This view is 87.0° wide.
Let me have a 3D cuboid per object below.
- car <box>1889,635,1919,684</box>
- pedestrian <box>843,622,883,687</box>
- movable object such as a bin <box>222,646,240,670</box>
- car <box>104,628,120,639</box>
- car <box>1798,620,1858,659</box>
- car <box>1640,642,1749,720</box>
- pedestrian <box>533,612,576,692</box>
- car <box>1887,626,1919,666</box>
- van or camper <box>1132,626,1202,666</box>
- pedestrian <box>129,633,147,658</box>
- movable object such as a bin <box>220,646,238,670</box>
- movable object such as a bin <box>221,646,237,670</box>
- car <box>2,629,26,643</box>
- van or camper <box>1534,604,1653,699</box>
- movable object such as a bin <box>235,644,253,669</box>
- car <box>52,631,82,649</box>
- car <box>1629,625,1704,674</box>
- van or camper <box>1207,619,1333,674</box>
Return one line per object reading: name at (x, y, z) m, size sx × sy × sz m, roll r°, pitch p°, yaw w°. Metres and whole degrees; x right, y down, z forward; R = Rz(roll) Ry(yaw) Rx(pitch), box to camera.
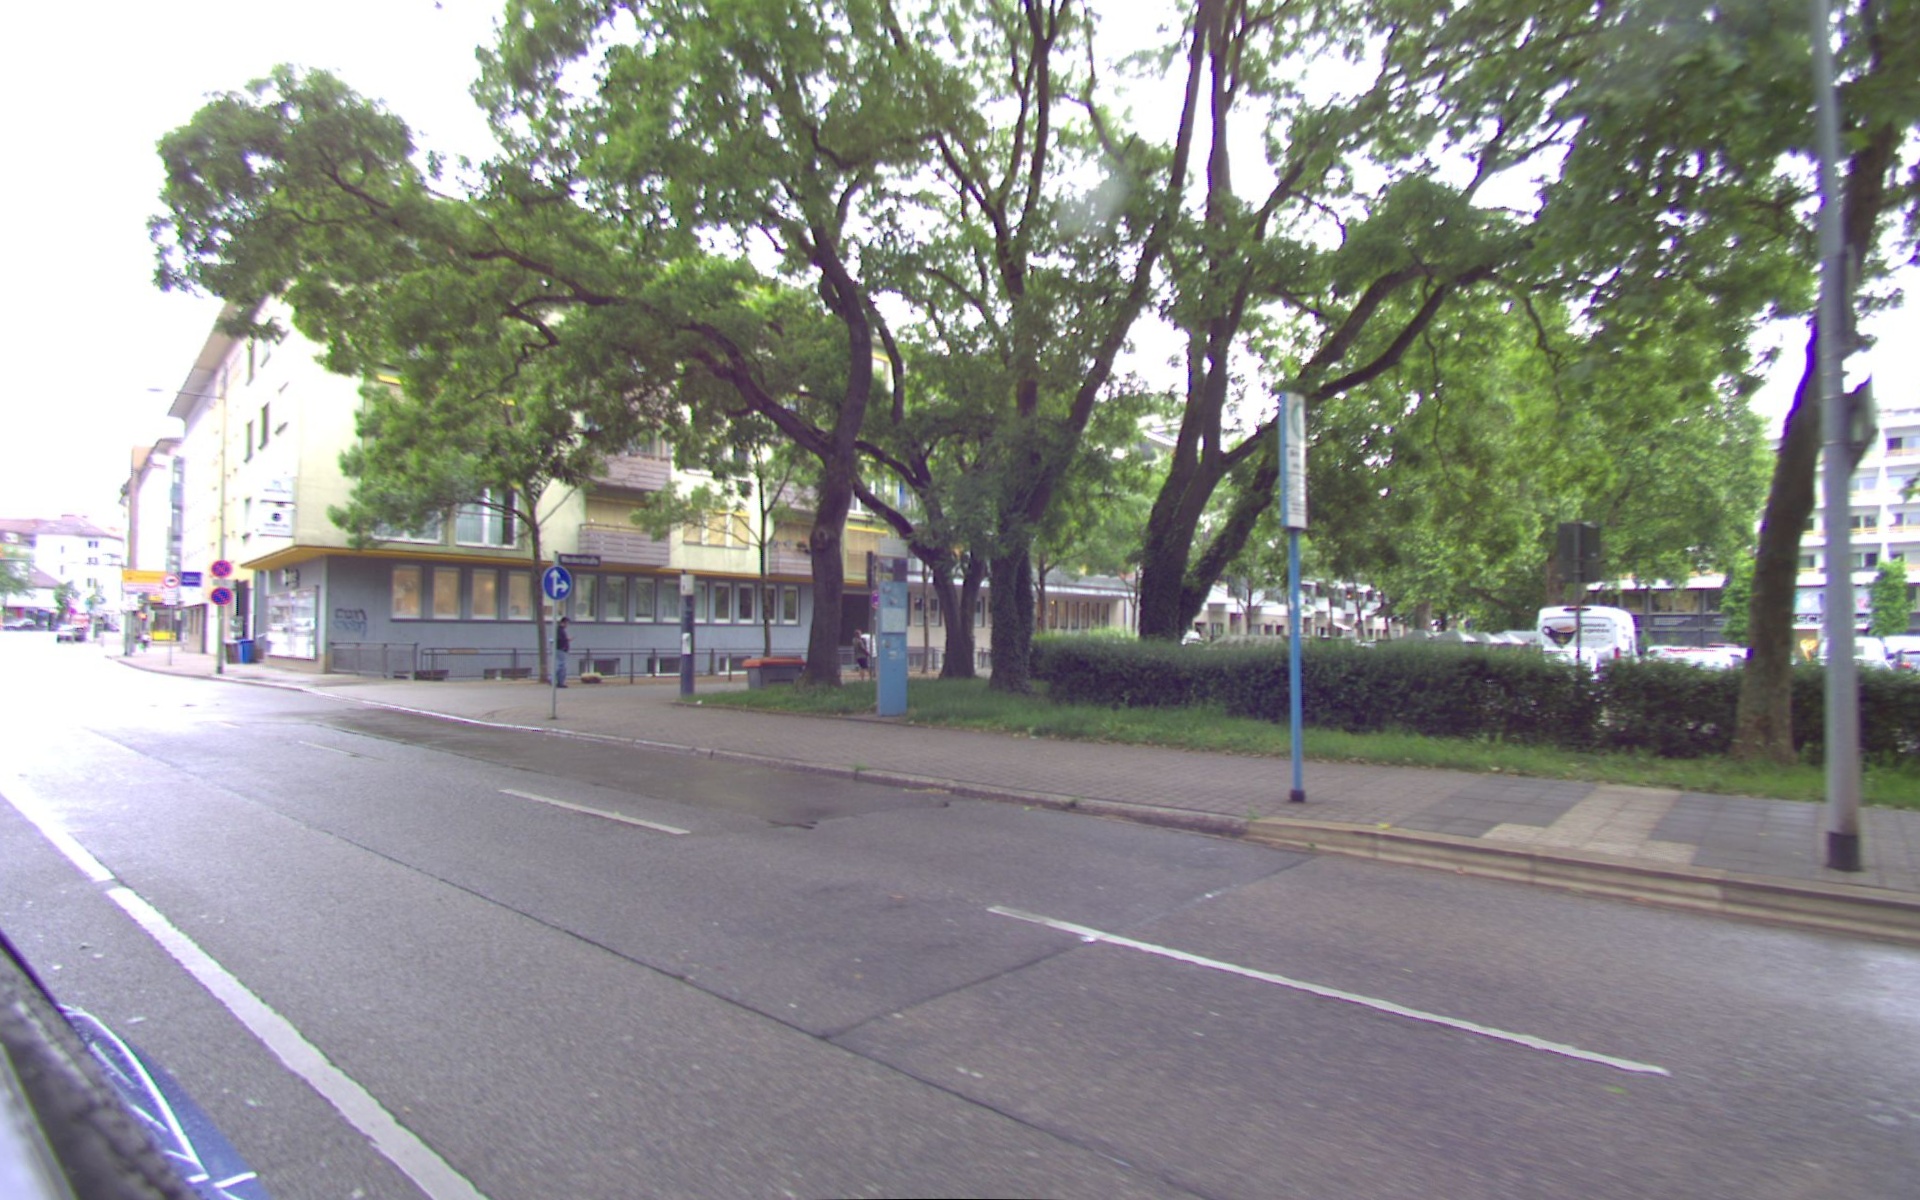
car at (34.229, 2.084, 35.687) m, size 1.895 × 1.497 × 3.948 m, roll -1°, pitch 0°, yaw 39°
pedestrian at (-2.988, 1.664, 31.124) m, size 0.906 × 1.939 × 0.820 m, roll 2°, pitch -3°, yaw -43°
movable object such as a bin at (-29.631, 2.360, 41.124) m, size 0.522 × 0.902 × 0.435 m, roll -3°, pitch 1°, yaw -42°
car at (-126.257, 5.017, 150.689) m, size 1.567 × 1.539 × 3.496 m, roll 2°, pitch -3°, yaw -36°
car at (42.754, 1.910, 49.912) m, size 2.097 × 1.735 × 3.948 m, roll -1°, pitch 0°, yaw 39°
car at (17.615, 1.850, 24.212) m, size 1.895 × 1.497 × 3.948 m, roll -1°, pitch 0°, yaw 39°
pedestrian at (-10.432, 1.329, 26.057) m, size 0.772 × 2.029 × 0.752 m, roll 0°, pitch -2°, yaw 4°
car at (41.190, 1.946, 43.389) m, size 1.895 × 1.497 × 3.948 m, roll -1°, pitch 0°, yaw 39°
van or camper at (11.265, 2.490, 54.818) m, size 1.825 × 2.029 × 4.576 m, roll 1°, pitch -2°, yaw 38°
pedestrian at (-52.460, 2.890, 64.566) m, size 0.773 × 1.600 × 0.675 m, roll -1°, pitch -1°, yaw -29°
movable object such as a bin at (-29.960, 2.381, 41.504) m, size 0.521 × 0.935 × 0.426 m, roll -3°, pitch 0°, yaw -42°
movable object such as a bin at (-30.285, 2.391, 41.927) m, size 0.458 × 0.935 × 0.429 m, roll -3°, pitch 0°, yaw -42°
car at (-126.929, 4.847, 135.779) m, size 1.723 × 1.778 × 4.063 m, roll 3°, pitch -4°, yaw -35°
van or camper at (17.821, 1.406, 28.386) m, size 2.099 × 2.450 × 4.280 m, roll -2°, pitch -3°, yaw 42°
movable object such as a bin at (-29.001, 2.286, 40.981) m, size 0.522 × 0.968 × 0.435 m, roll -3°, pitch 0°, yaw -42°
car at (-81.392, 3.630, 92.270) m, size 1.807 × 1.634 × 4.007 m, roll 2°, pitch -3°, yaw -39°
car at (24.931, 1.702, 35.659) m, size 1.895 × 1.497 × 3.948 m, roll -1°, pitch 0°, yaw 39°
van or camper at (14.940, 2.191, 48.330) m, size 2.561 × 2.420 × 8.535 m, roll -2°, pitch -3°, yaw 41°
